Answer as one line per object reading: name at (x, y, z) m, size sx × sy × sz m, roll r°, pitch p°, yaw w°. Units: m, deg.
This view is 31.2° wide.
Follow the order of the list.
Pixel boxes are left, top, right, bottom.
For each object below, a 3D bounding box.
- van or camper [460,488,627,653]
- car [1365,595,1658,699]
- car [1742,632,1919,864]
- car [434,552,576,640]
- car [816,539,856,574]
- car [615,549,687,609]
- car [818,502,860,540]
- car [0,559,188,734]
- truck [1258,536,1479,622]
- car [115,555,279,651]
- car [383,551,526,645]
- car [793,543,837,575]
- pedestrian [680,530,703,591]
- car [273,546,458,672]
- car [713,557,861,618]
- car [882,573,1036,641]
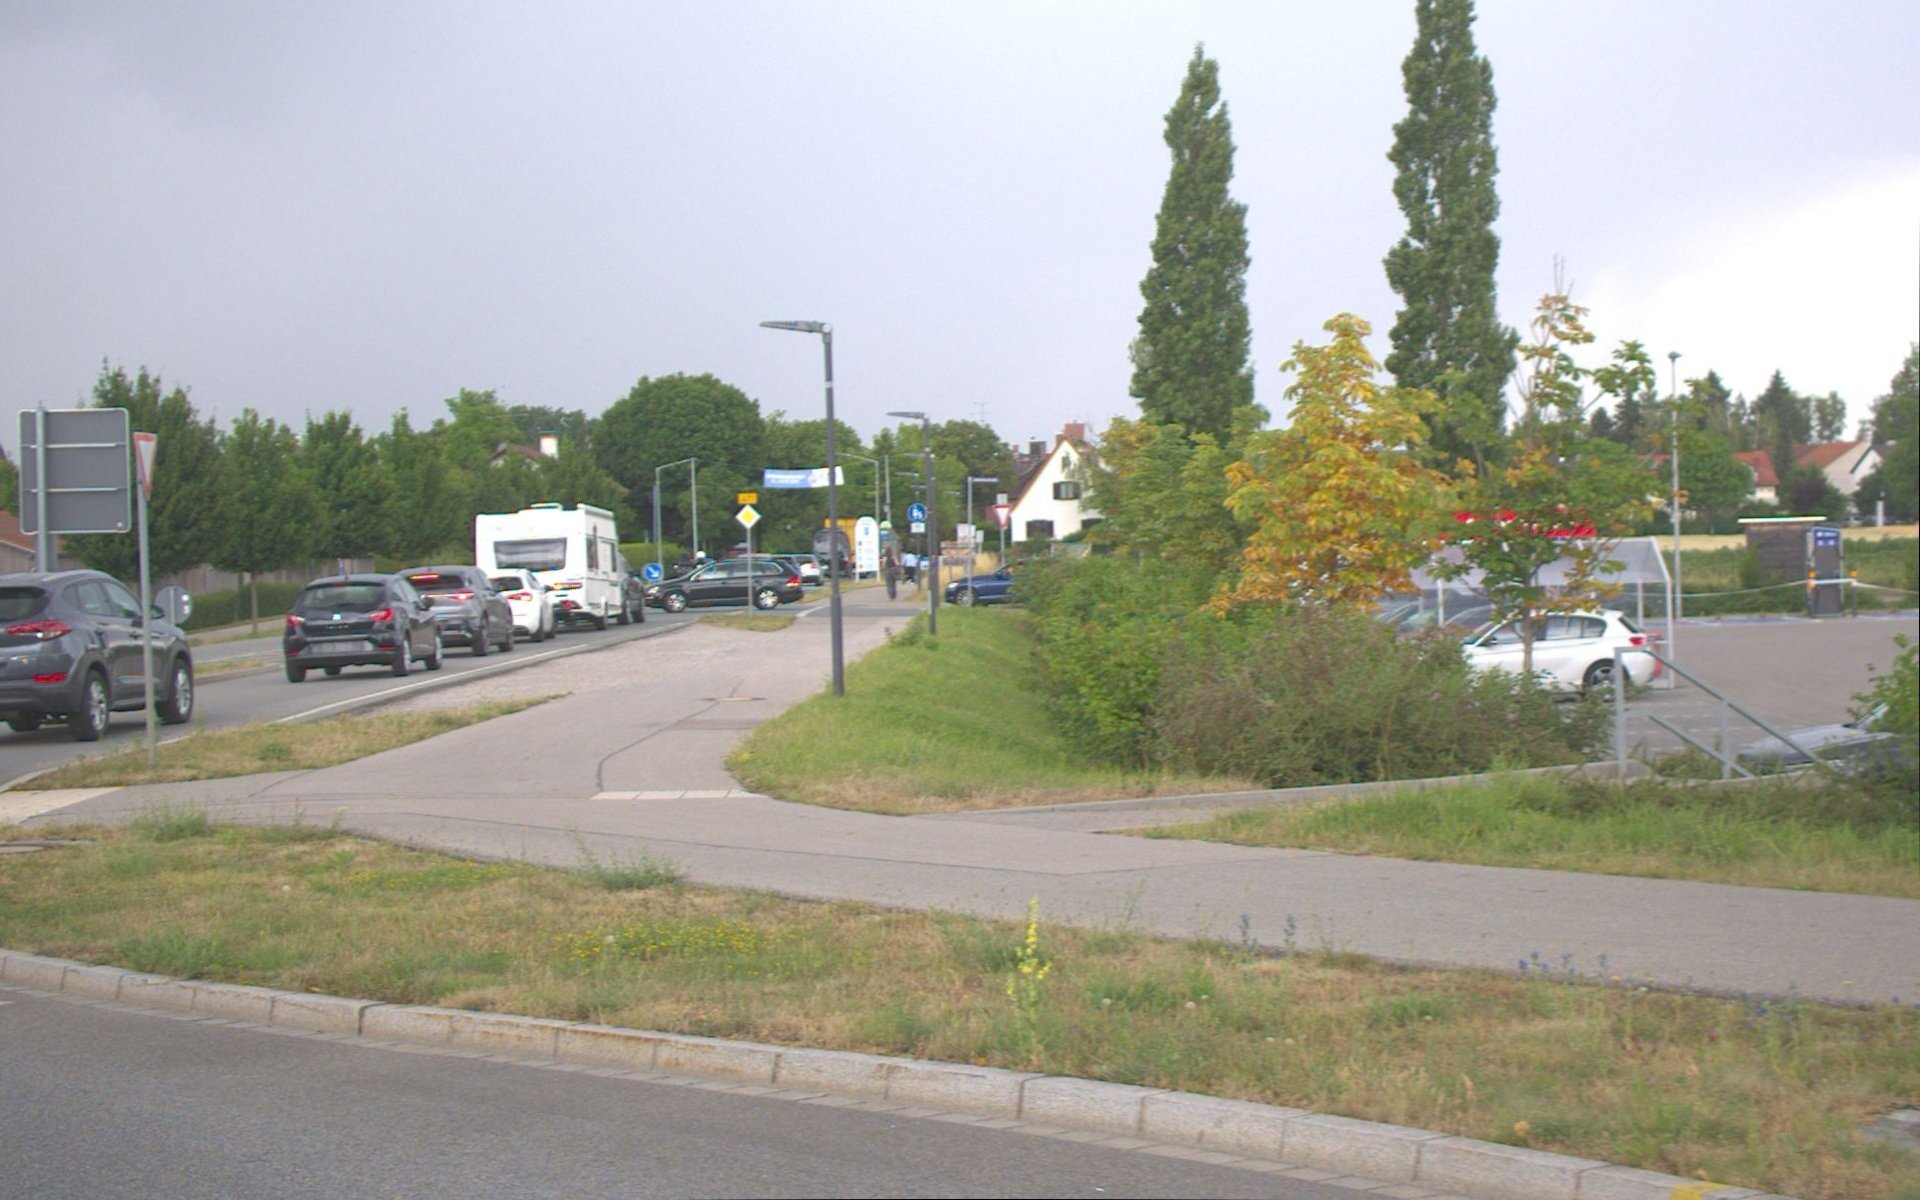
van or camper at (-8.874, -0.627, 74.001) m, size 2.625 × 3.312 × 6.821 m, roll -1°, pitch 0°, yaw 1°
car at (8.559, 0.714, 53.635) m, size 4.233 × 1.435 × 2.000 m, roll -2°, pitch 1°, yaw 1°
car at (8.926, 1.194, 29.307) m, size 3.986 × 1.601 × 1.792 m, roll -1°, pitch 9°, yaw -7°
car at (-8.638, -0.096, 65.554) m, size 1.994 × 1.590 × 4.000 m, roll -1°, pitch 1°, yaw 2°
car at (-6.586, -2.324, 182.533) m, size 1.993 × 1.831 × 4.000 m, roll -1°, pitch 1°, yaw -1°
car at (-10.833, -0.753, 120.634) m, size 1.993 × 2.007 × 4.000 m, roll -1°, pitch 1°, yaw 2°
car at (-7.394, -4.850, 210.869) m, size 1.994 × 2.204 × 3.999 m, roll -2°, pitch 1°, yaw 5°
car at (-9.079, 0.421, 34.218) m, size 1.776 × 1.612 × 4.000 m, roll -1°, pitch 1°, yaw 1°
truck at (9.518, -0.496, 80.332) m, size 4.795 × 1.866 × 2.000 m, roll -1°, pitch 1°, yaw -3°
car at (-12.337, 0.021, 55.794) m, size 1.776 × 1.429 × 3.802 m, roll -2°, pitch 1°, yaw 0°
car at (-8.330, -0.053, 56.946) m, size 1.776 × 1.429 × 3.802 m, roll -2°, pitch 1°, yaw 0°
car at (-6.763, -1.917, 160.846) m, size 1.845 × 1.431 × 4.000 m, roll -1°, pitch 1°, yaw 0°
pedestrian at (-8.839, -1.297, 113.196) m, size 0.578 × 2.007 × 0.681 m, roll 1°, pitch 1°, yaw 7°
car at (-8.270, 0.096, 48.114) m, size 1.776 × 1.612 × 4.000 m, roll -2°, pitch 1°, yaw 1°
car at (-4.825, -0.356, 96.273) m, size 3.987 × 1.612 × 2.000 m, roll 1°, pitch 1°, yaw 1°
car at (-0.025, 0.200, 97.369) m, size 3.991 × 1.788 × 1.617 m, roll -2°, pitch 1°, yaw 21°
